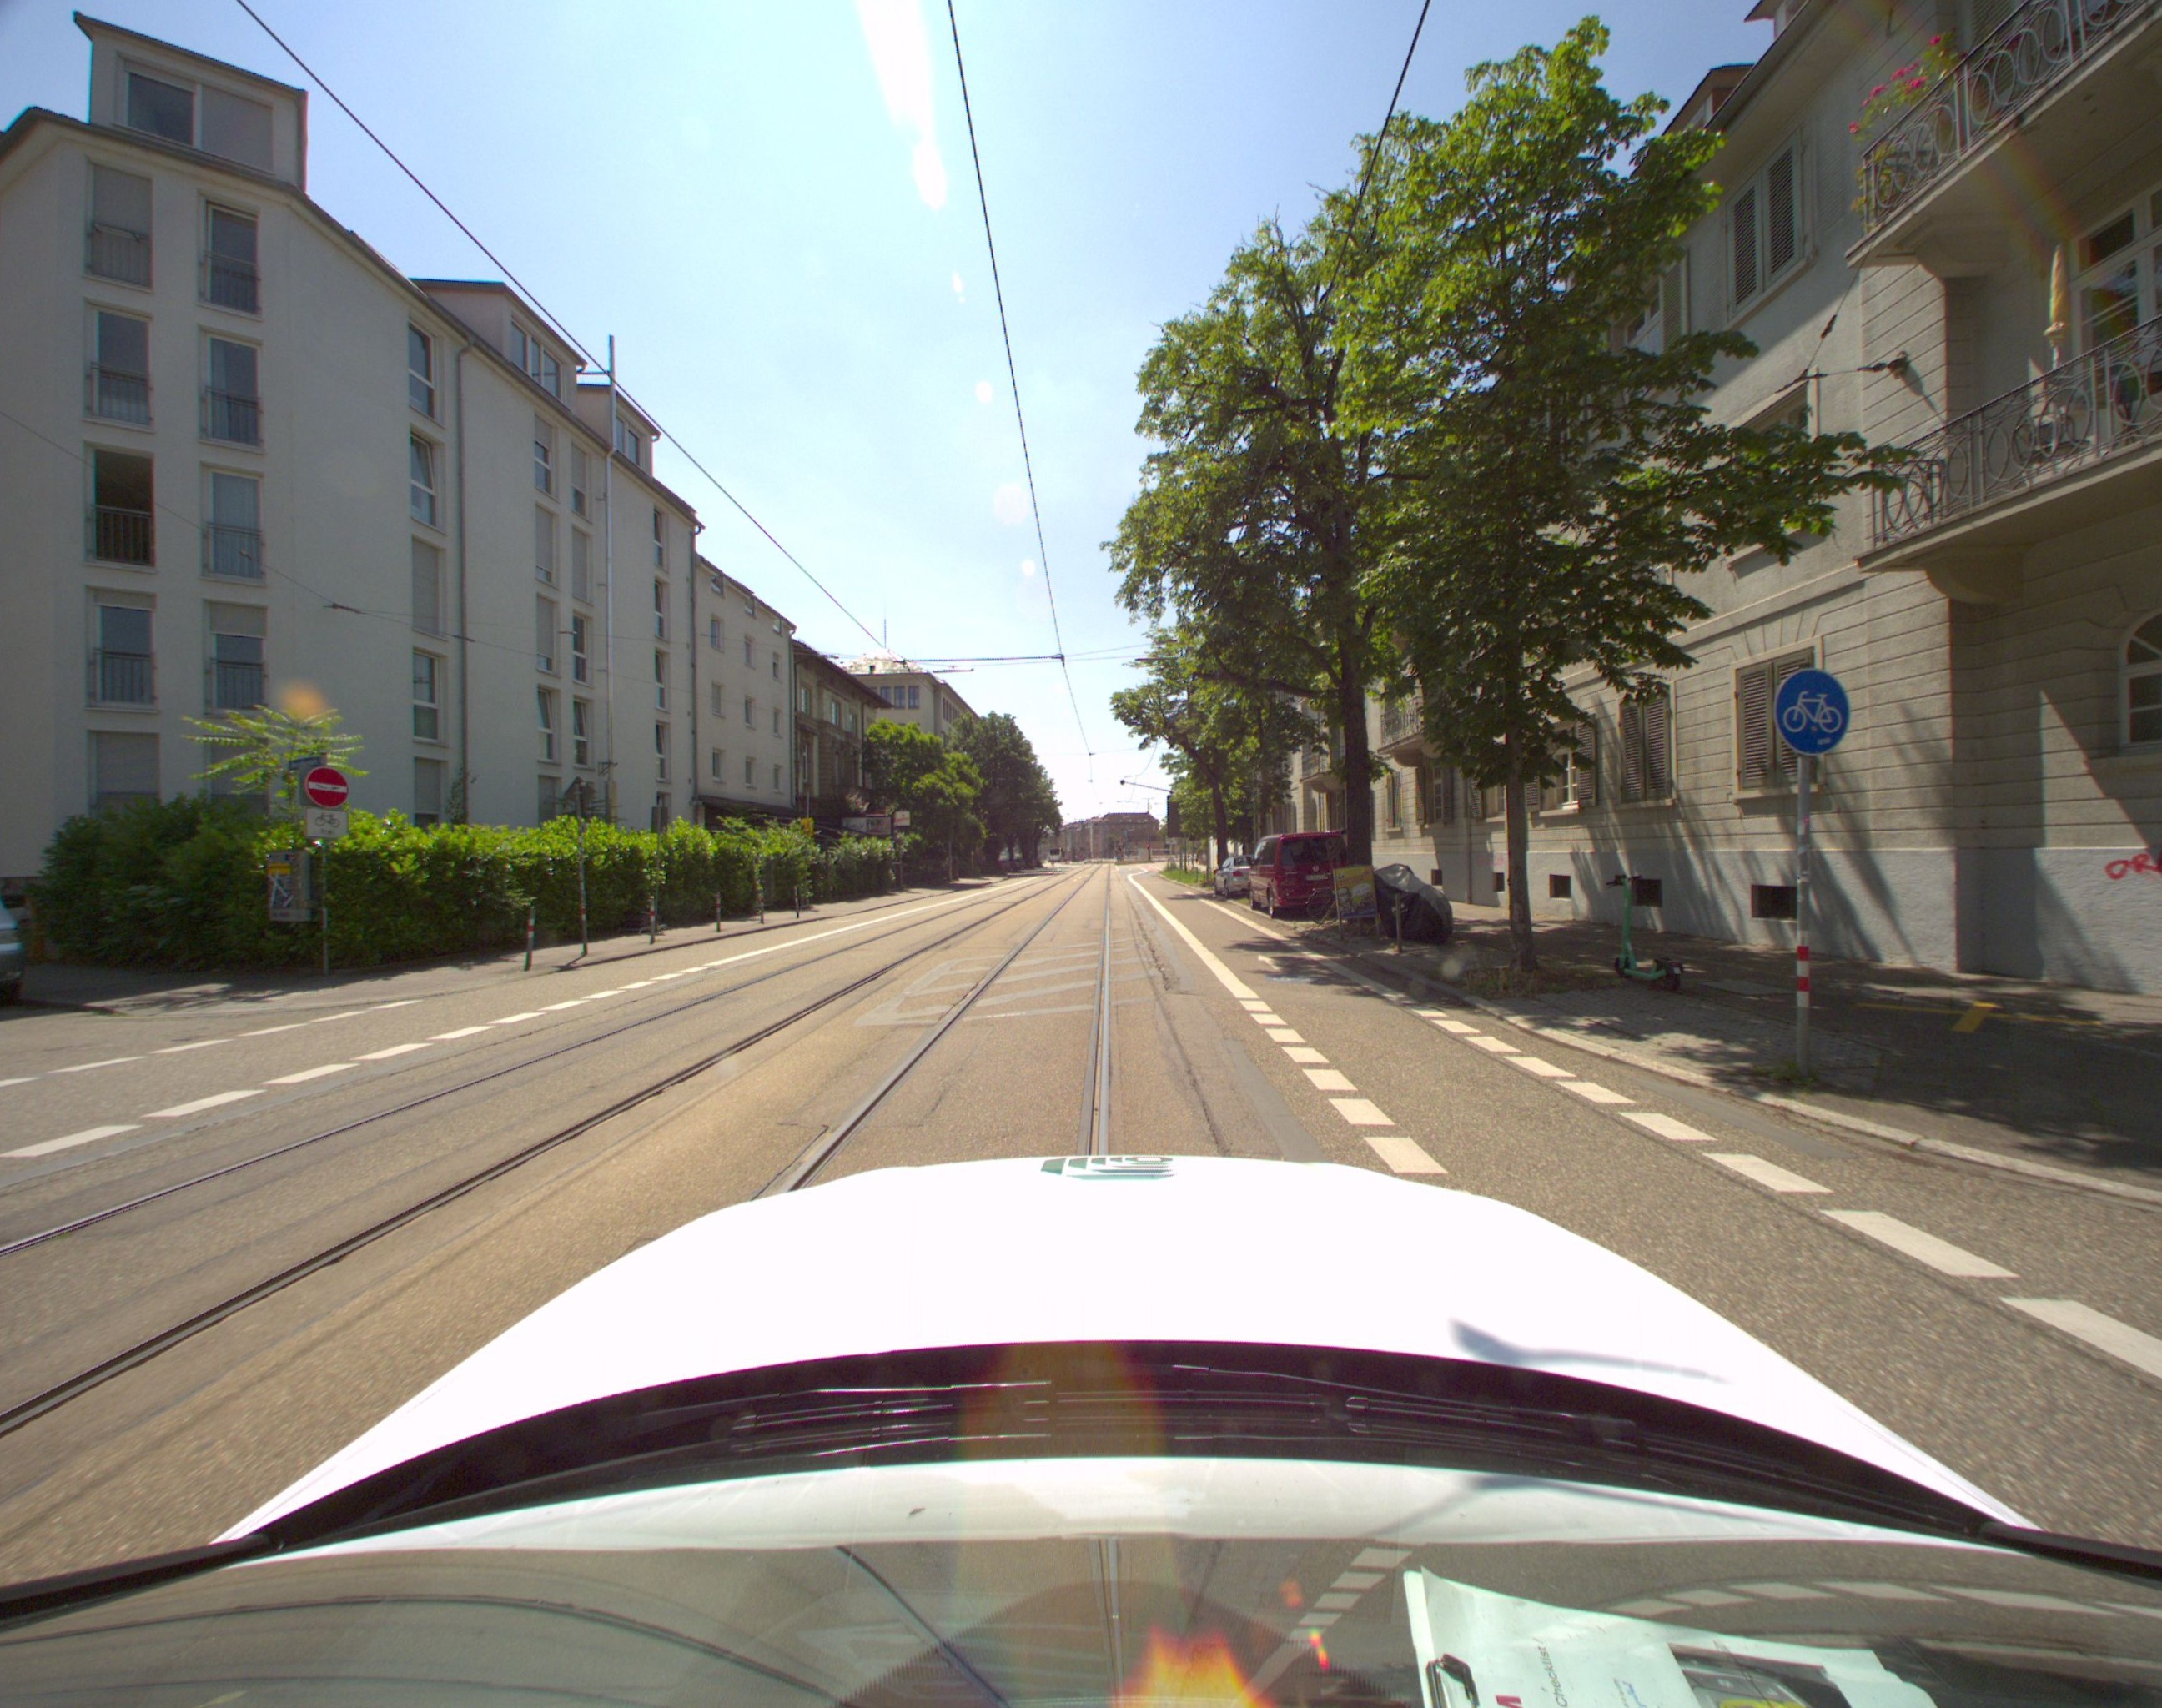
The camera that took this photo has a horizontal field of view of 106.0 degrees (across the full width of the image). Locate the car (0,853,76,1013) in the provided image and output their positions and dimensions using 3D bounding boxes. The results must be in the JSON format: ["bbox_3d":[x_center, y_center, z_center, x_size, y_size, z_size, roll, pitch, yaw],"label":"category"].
[{"bbox_3d":[-15.779,1.029,10.589,4.648,1.984,2.168,-1,0,23],"label":"car"}]

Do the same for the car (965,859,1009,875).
[{"bbox_3d":[-9.939,1.373,85.897,4.332,1.584,1.654,0,-1,-28],"label":"car"}]

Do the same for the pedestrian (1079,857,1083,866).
[{"bbox_3d":[-0.009,1.522,172.224,0.672,1.909,0.639,-1,0,-8],"label":"pedestrian"}]

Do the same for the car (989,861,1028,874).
[{"bbox_3d":[-8.084,1.487,90.958,3.939,1.374,1.656,-2,0,-24],"label":"car"}]

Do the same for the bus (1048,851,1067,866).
[{"bbox_3d":[-5.123,1.082,182.230,2.998,3.158,17.509,-1,0,3],"label":"bus"}]

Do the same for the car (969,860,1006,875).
[{"bbox_3d":[-9.531,1.355,82.991,3.357,1.516,1.656,0,-1,-24],"label":"car"}]

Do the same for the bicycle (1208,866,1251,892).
[{"bbox_3d":[5.993,0.994,32.819,1.651,1.015,0.372,-1,-1,2],"label":"bicycle"}]

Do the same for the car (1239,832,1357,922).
[{"bbox_3d":[5.381,0.532,20.869,1.852,2.014,4.978,-1,-1,2],"label":"car"}]

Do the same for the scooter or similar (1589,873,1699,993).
[{"bbox_3d":[5.969,0.793,8.695,0.294,1.161,1.252,-1,0,1],"label":"scooter or similar"}]

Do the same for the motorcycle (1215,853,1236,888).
[{"bbox_3d":[6.501,0.705,36.657,0.740,1.506,2.568,-2,0,13],"label":"motorcycle"}]

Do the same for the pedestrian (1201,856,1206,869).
[{"bbox_3d":[16.266,1.138,107.977,0.657,1.647,0.626,-1,0,7],"label":"pedestrian"}]

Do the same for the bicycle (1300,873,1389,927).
[{"bbox_3d":[5.373,0.930,16.646,1.693,1.021,0.364,-2,-1,-5],"label":"bicycle"}]

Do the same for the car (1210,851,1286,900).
[{"bbox_3d":[5.766,0.734,28.725,1.852,1.577,4.880,-1,-1,2],"label":"car"}]
